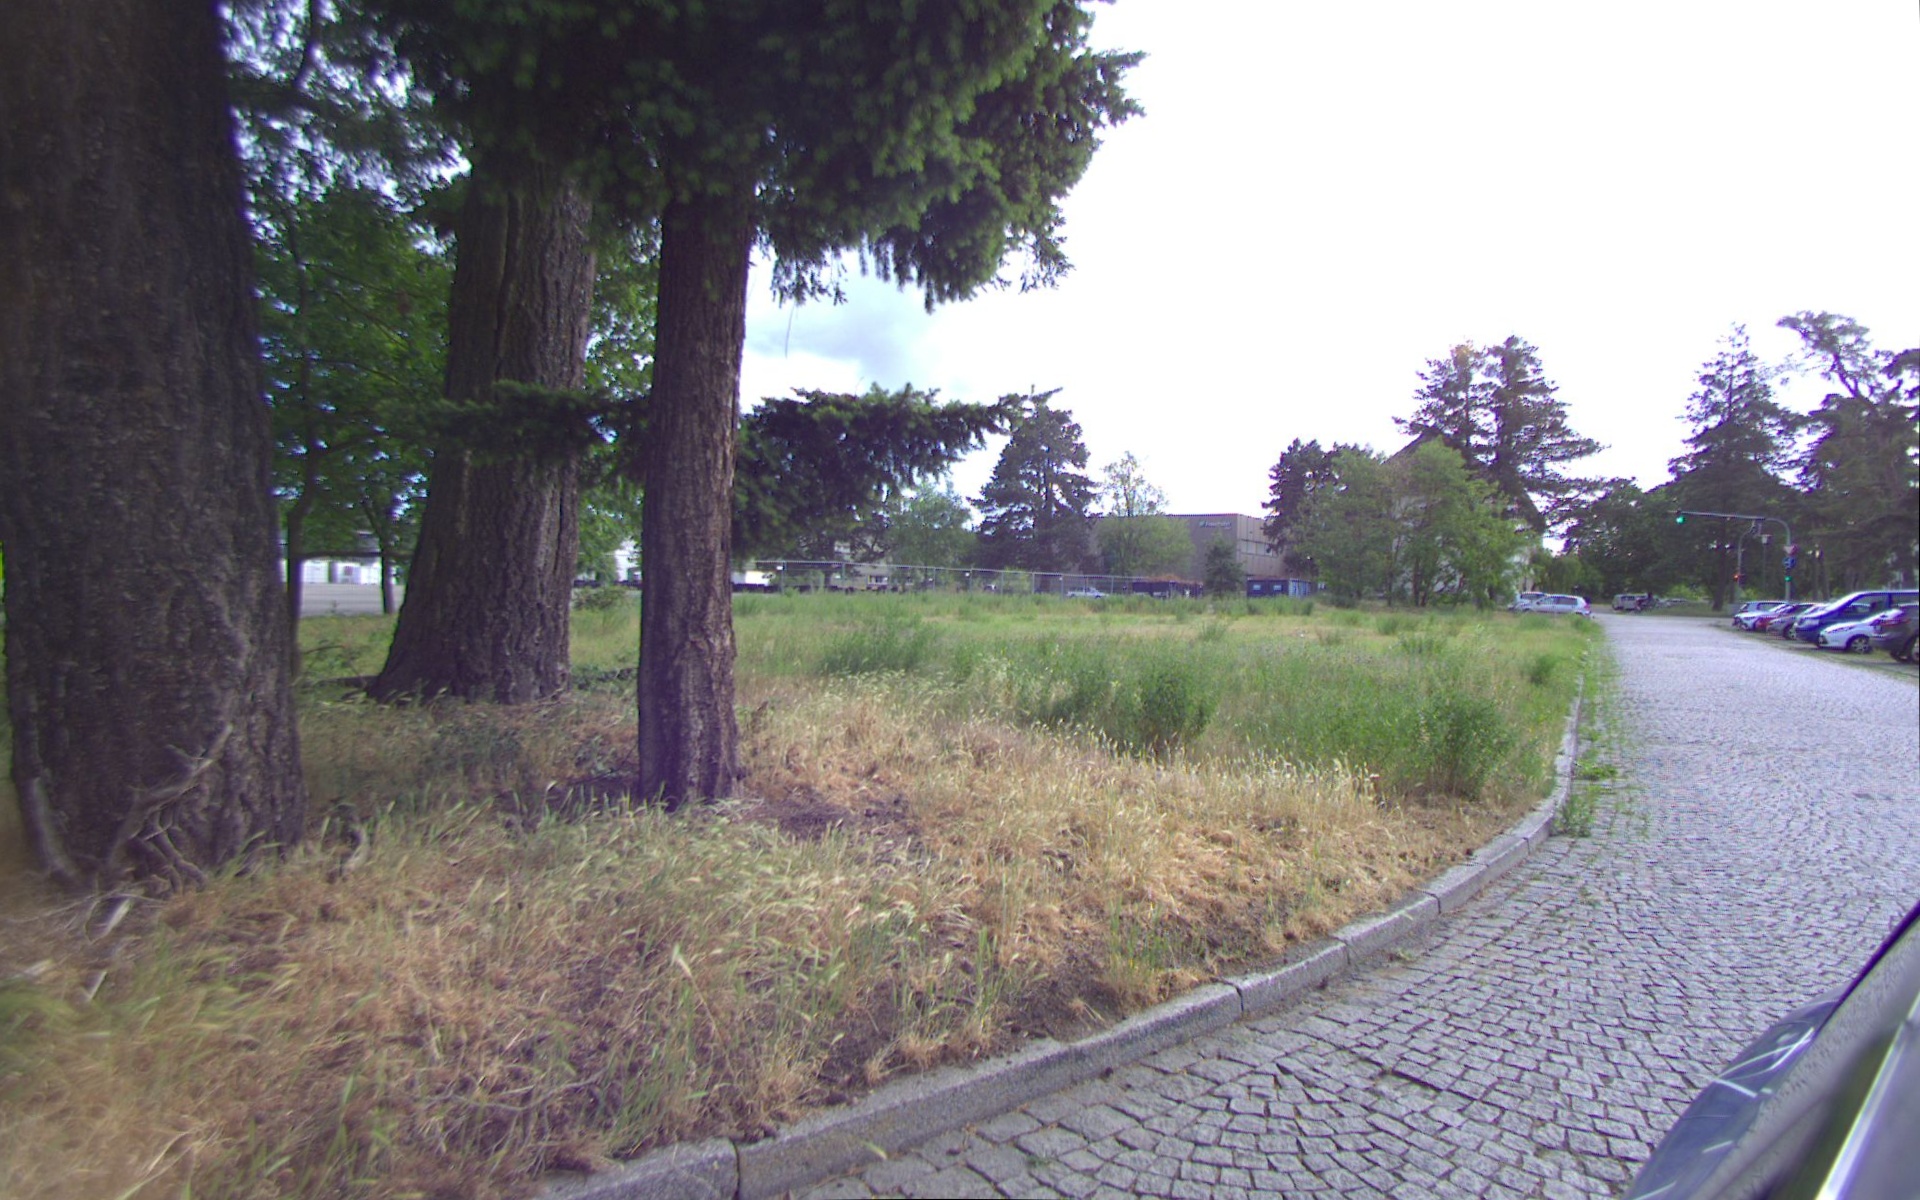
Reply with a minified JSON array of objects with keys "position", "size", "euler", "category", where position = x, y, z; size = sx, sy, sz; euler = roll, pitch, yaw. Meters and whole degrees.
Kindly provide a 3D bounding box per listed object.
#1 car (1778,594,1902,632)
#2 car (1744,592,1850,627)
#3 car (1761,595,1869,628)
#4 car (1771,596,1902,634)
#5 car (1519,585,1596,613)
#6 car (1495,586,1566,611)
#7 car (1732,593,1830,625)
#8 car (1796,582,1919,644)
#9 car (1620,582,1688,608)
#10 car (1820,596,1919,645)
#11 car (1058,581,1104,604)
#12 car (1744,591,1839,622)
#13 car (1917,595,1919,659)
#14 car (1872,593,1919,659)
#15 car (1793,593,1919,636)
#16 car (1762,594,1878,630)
[{"position":[36.492,0.541,42.064],"size":[3.537,1.452,1.592],"euler":[-2,0,26],"category":"car"},{"position":[39.757,0.459,48.157],"size":[3.536,1.506,1.589],"euler":[-2,0,26],"category":"car"},{"position":[38.999,0.538,46.279],"size":[3.632,1.365,1.599],"euler":[-2,0,37],"category":"car"},{"position":[34.464,0.592,39.896],"size":[3.564,1.438,1.604],"euler":[-1,0,26],"category":"car"},{"position":[33.867,-0.048,57.483],"size":[3.699,1.456,1.610],"euler":[-1,1,30],"category":"car"},{"position":[35.380,-0.113,62.835],"size":[3.693,1.456,1.612],"euler":[-1,0,26],"category":"car"},{"position":[41.106,0.455,50.739],"size":[3.543,1.477,1.609],"euler":[-2,0,31],"category":"car"},{"position":[30.387,0.401,32.730],"size":[4.797,1.889,2.138],"euler":[-2,0,32],"category":"car"},{"position":[75.626,-0.508,110.363],"size":[5.744,2.595,2.743],"euler":[-2,0,28],"category":"car"},{"position":[28.849,0.602,30.708],"size":[3.901,1.410,1.724],"euler":[-2,0,32],"category":"car"},{"position":[11.143,-0.689,93.254],"size":[3.694,1.928,2.003],"euler":[2,-1,-7],"category":"car"},{"position":[42.964,0.328,52.388],"size":[3.416,1.450,1.615],"euler":[-2,0,24],"category":"car"},{"position":[24.473,0.682,22.840],"size":[3.926,1.539,1.687],"euler":[1,0,34],"category":"car"},{"position":[25.645,0.683,25.290],"size":[3.887,1.623,1.801],"euler":[2,1,31],"category":"car"},{"position":[33.348,0.544,37.429],"size":[3.564,1.472,1.673],"euler":[-2,0,26],"category":"car"},{"position":[37.701,0.528,44.464],"size":[3.537,1.434,1.624],"euler":[-2,0,26],"category":"car"}]
